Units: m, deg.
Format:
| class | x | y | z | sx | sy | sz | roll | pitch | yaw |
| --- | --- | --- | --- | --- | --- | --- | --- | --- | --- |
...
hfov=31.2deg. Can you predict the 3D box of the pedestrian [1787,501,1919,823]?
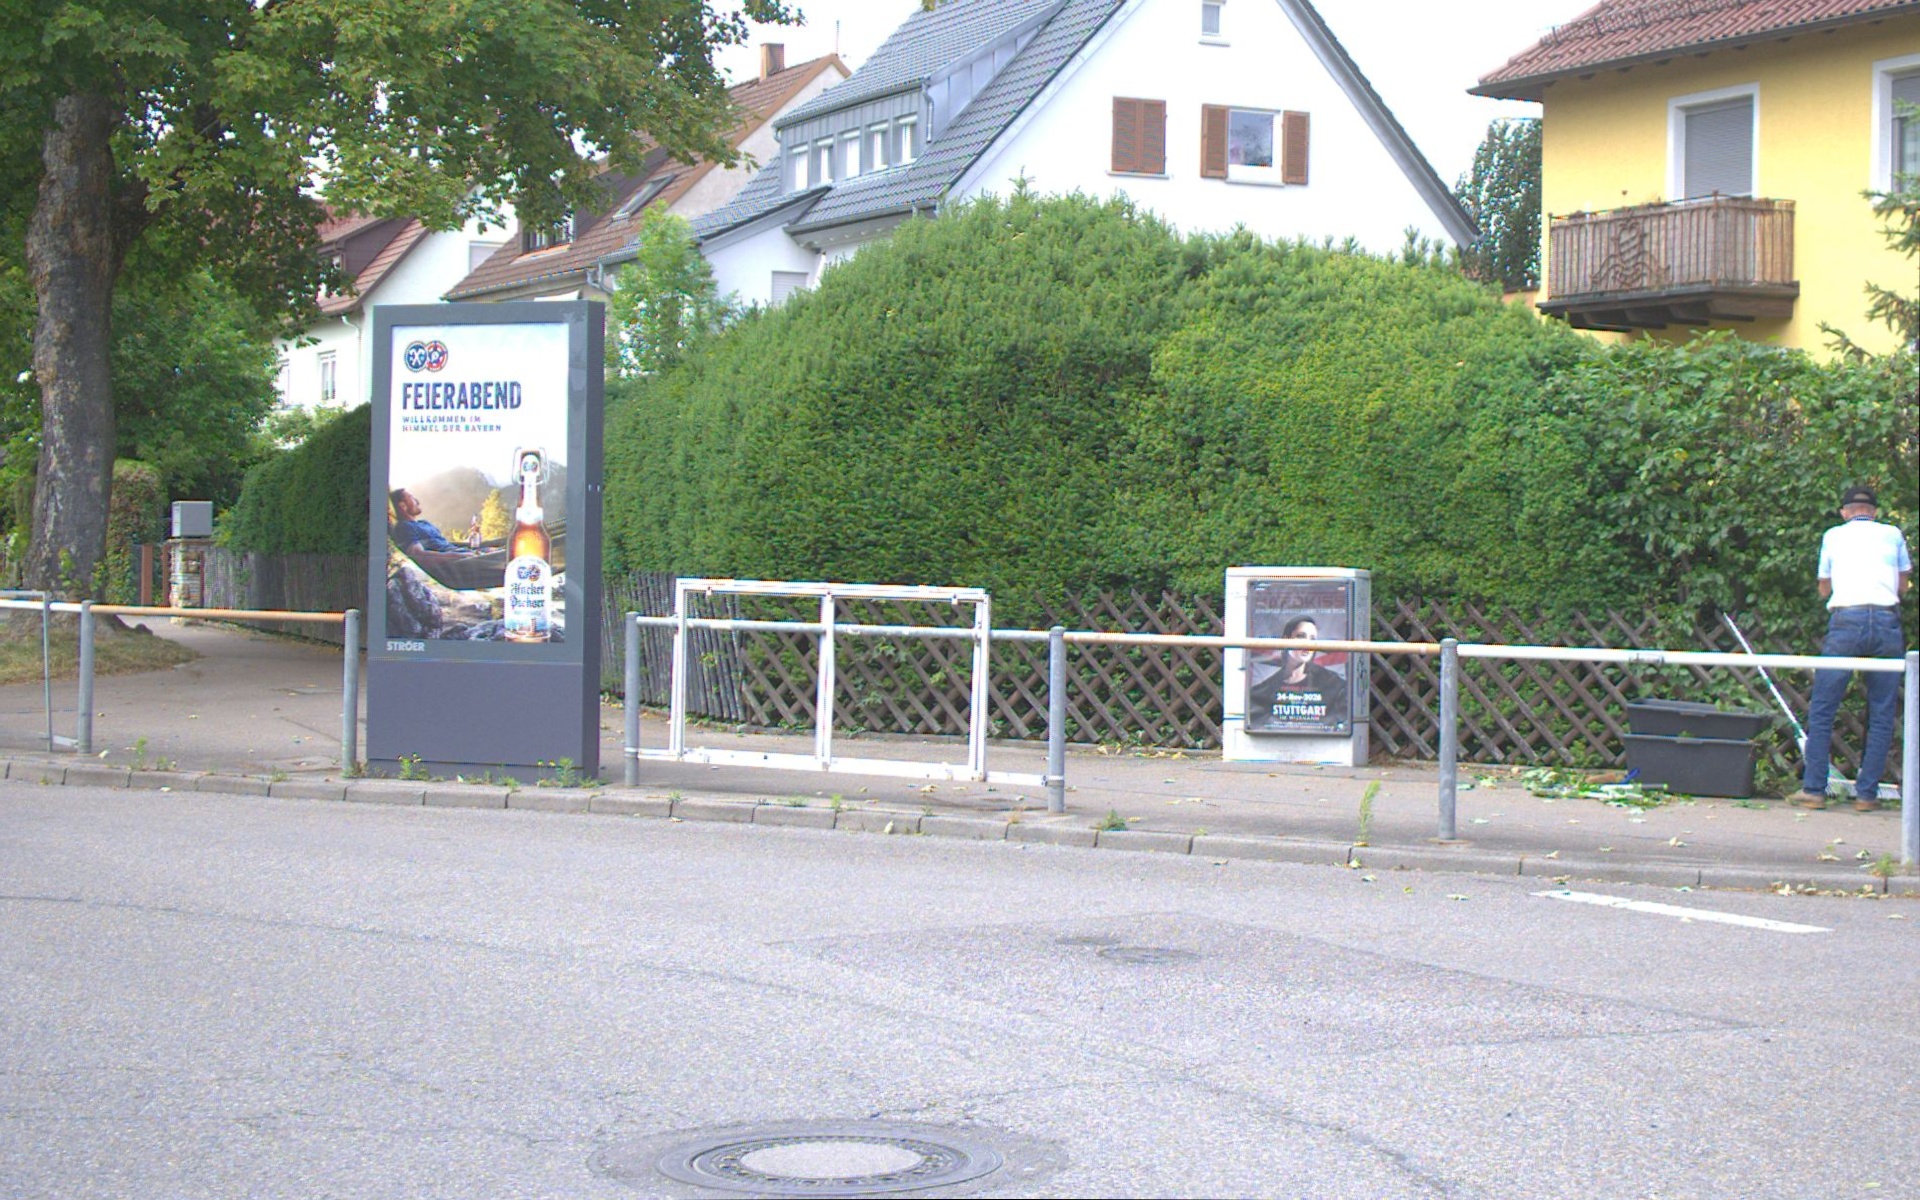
| class | x | y | z | sx | sy | sz | roll | pitch | yaw |
| --- | --- | --- | --- | --- | --- | --- | --- | --- | --- |
| pedestrian | 4.723 | 0.312 | 18.047 | 0.652 | 1.651 | 0.594 | 1 | 1 | 20 |
